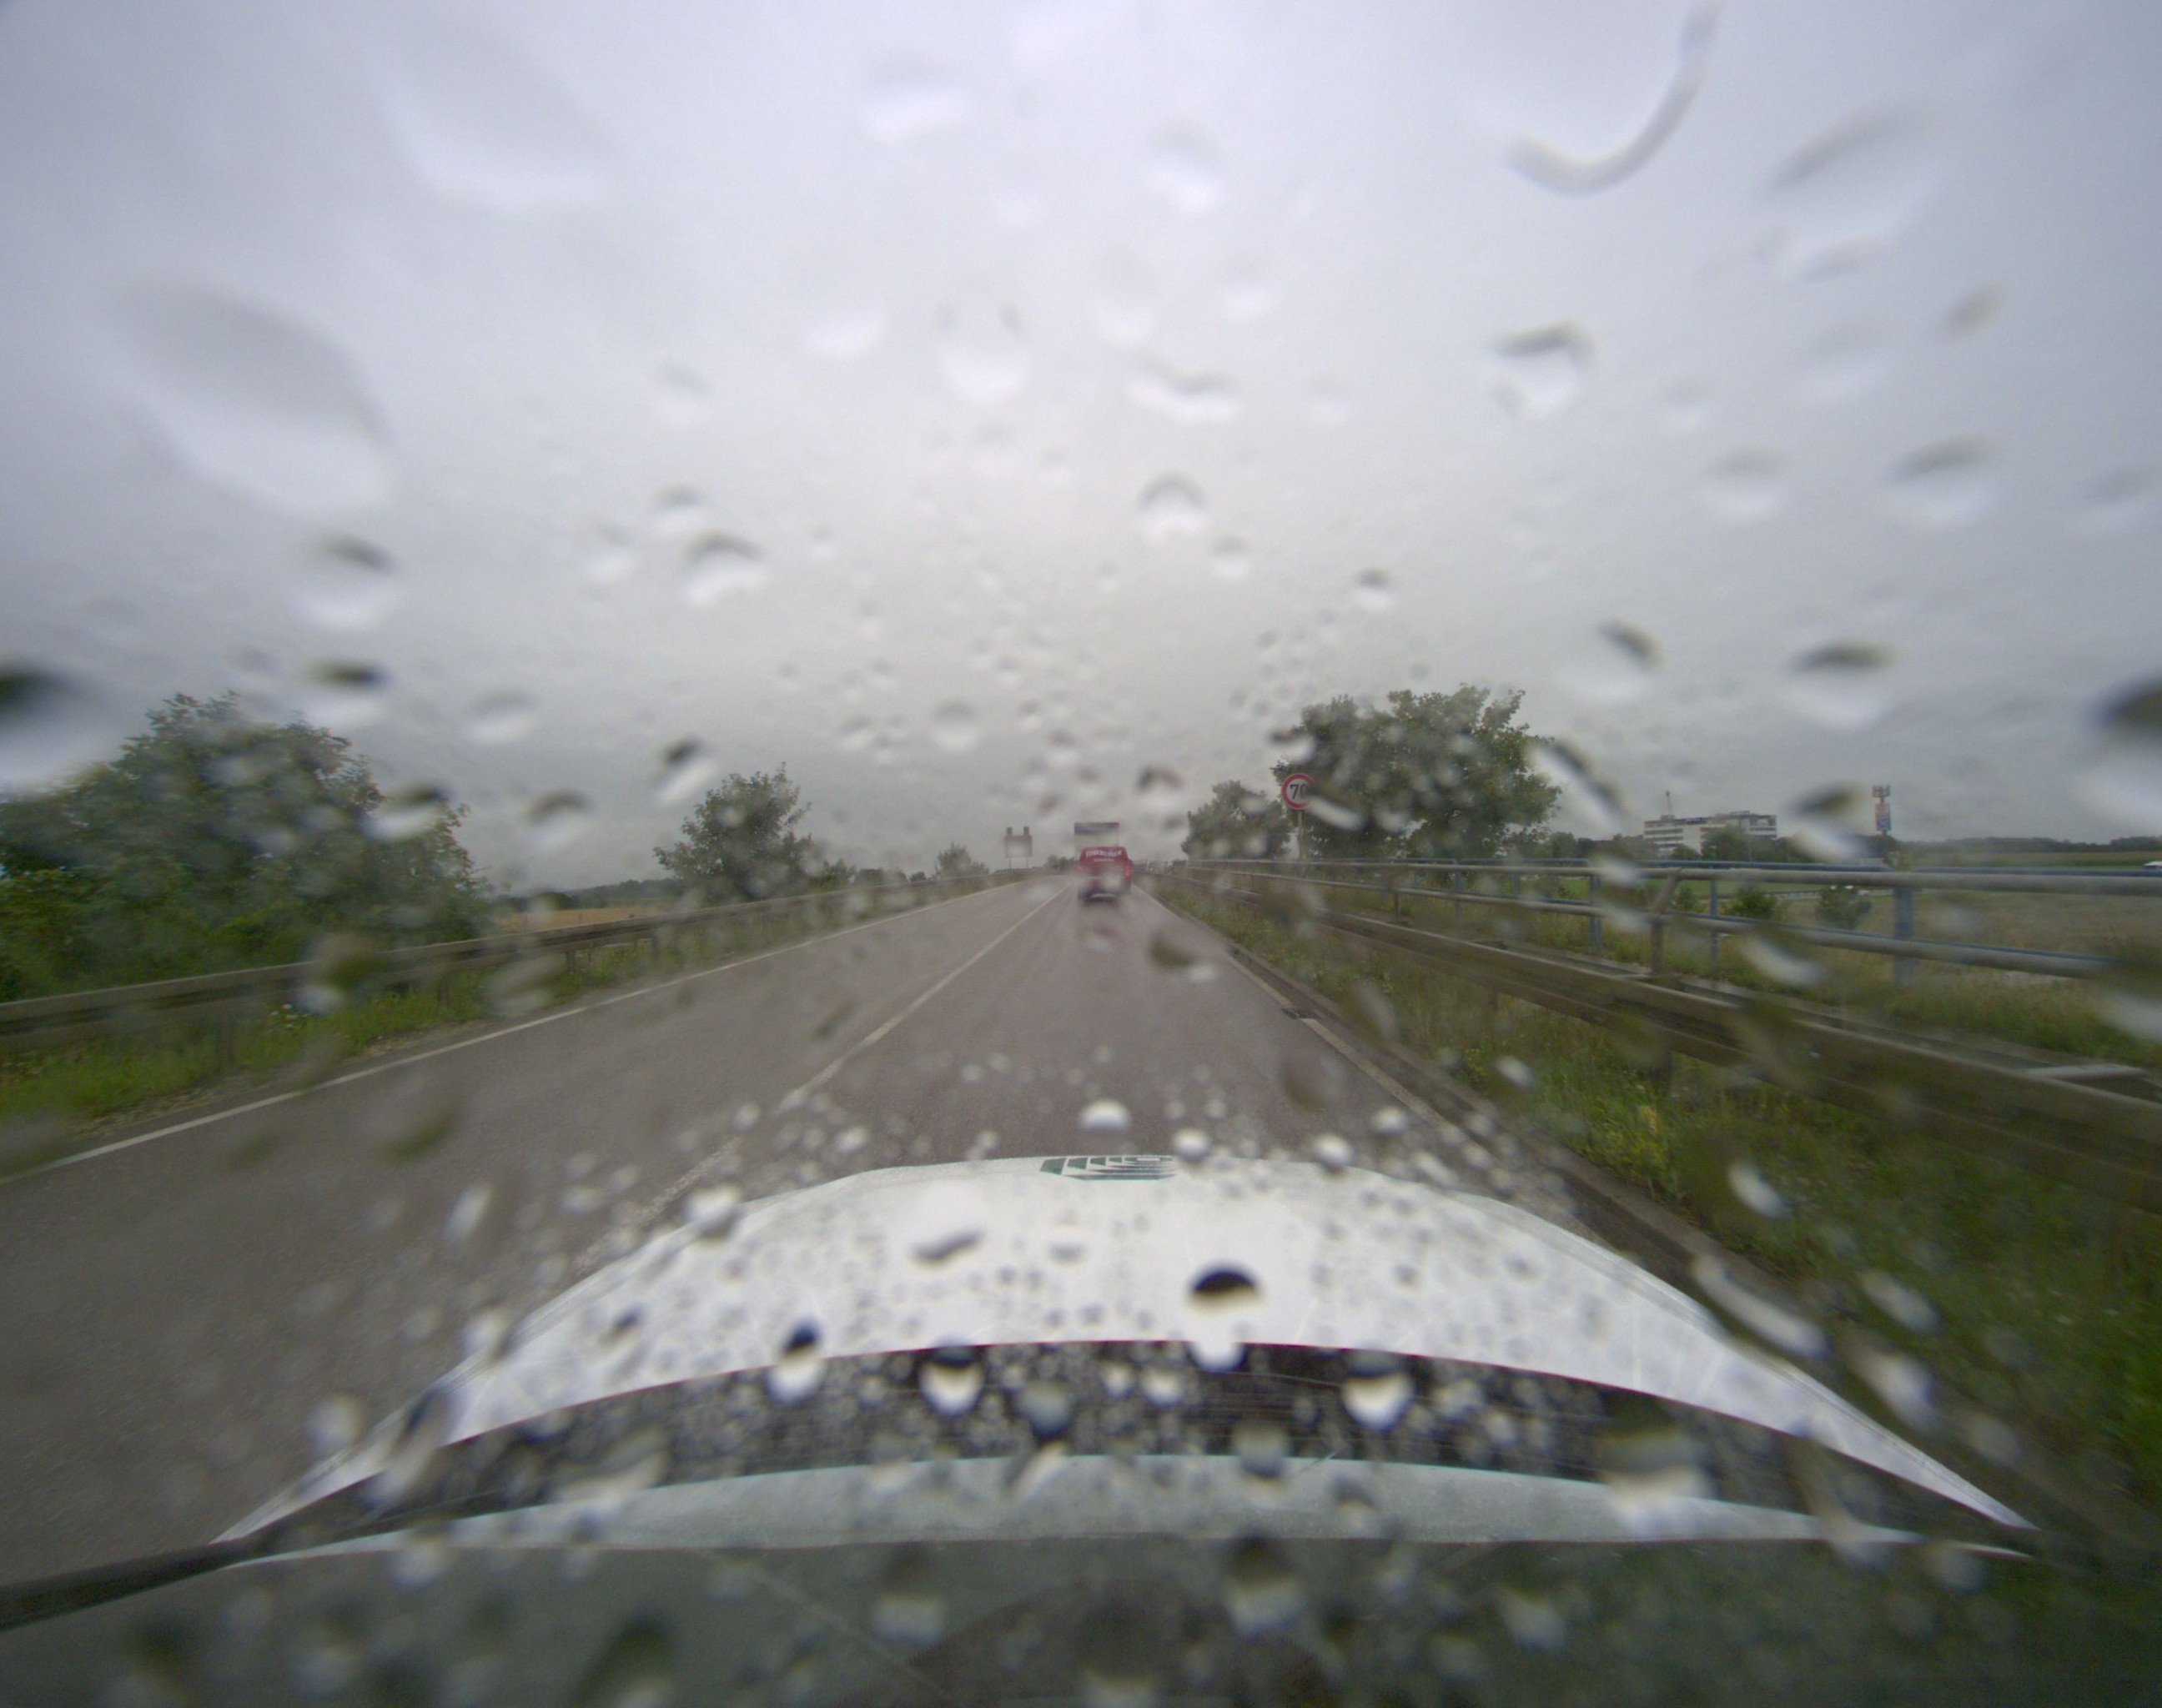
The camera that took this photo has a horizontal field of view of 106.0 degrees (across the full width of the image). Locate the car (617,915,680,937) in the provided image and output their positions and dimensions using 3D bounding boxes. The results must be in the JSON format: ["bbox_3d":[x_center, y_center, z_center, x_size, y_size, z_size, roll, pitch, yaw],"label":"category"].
[{"bbox_3d":[-65.763,10.955,123.975,7.823,2.969,3.004,-1,-2,-10],"label":"car"}]

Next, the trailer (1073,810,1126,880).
[{"bbox_3d":[1.317,-0.429,50.524,2.820,3.819,9.722,-2,-1,3],"label":"trailer"}]

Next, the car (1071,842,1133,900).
[{"bbox_3d":[0.833,0.583,29.966,1.985,1.870,4.982,-3,-1,3],"label":"car"}]
